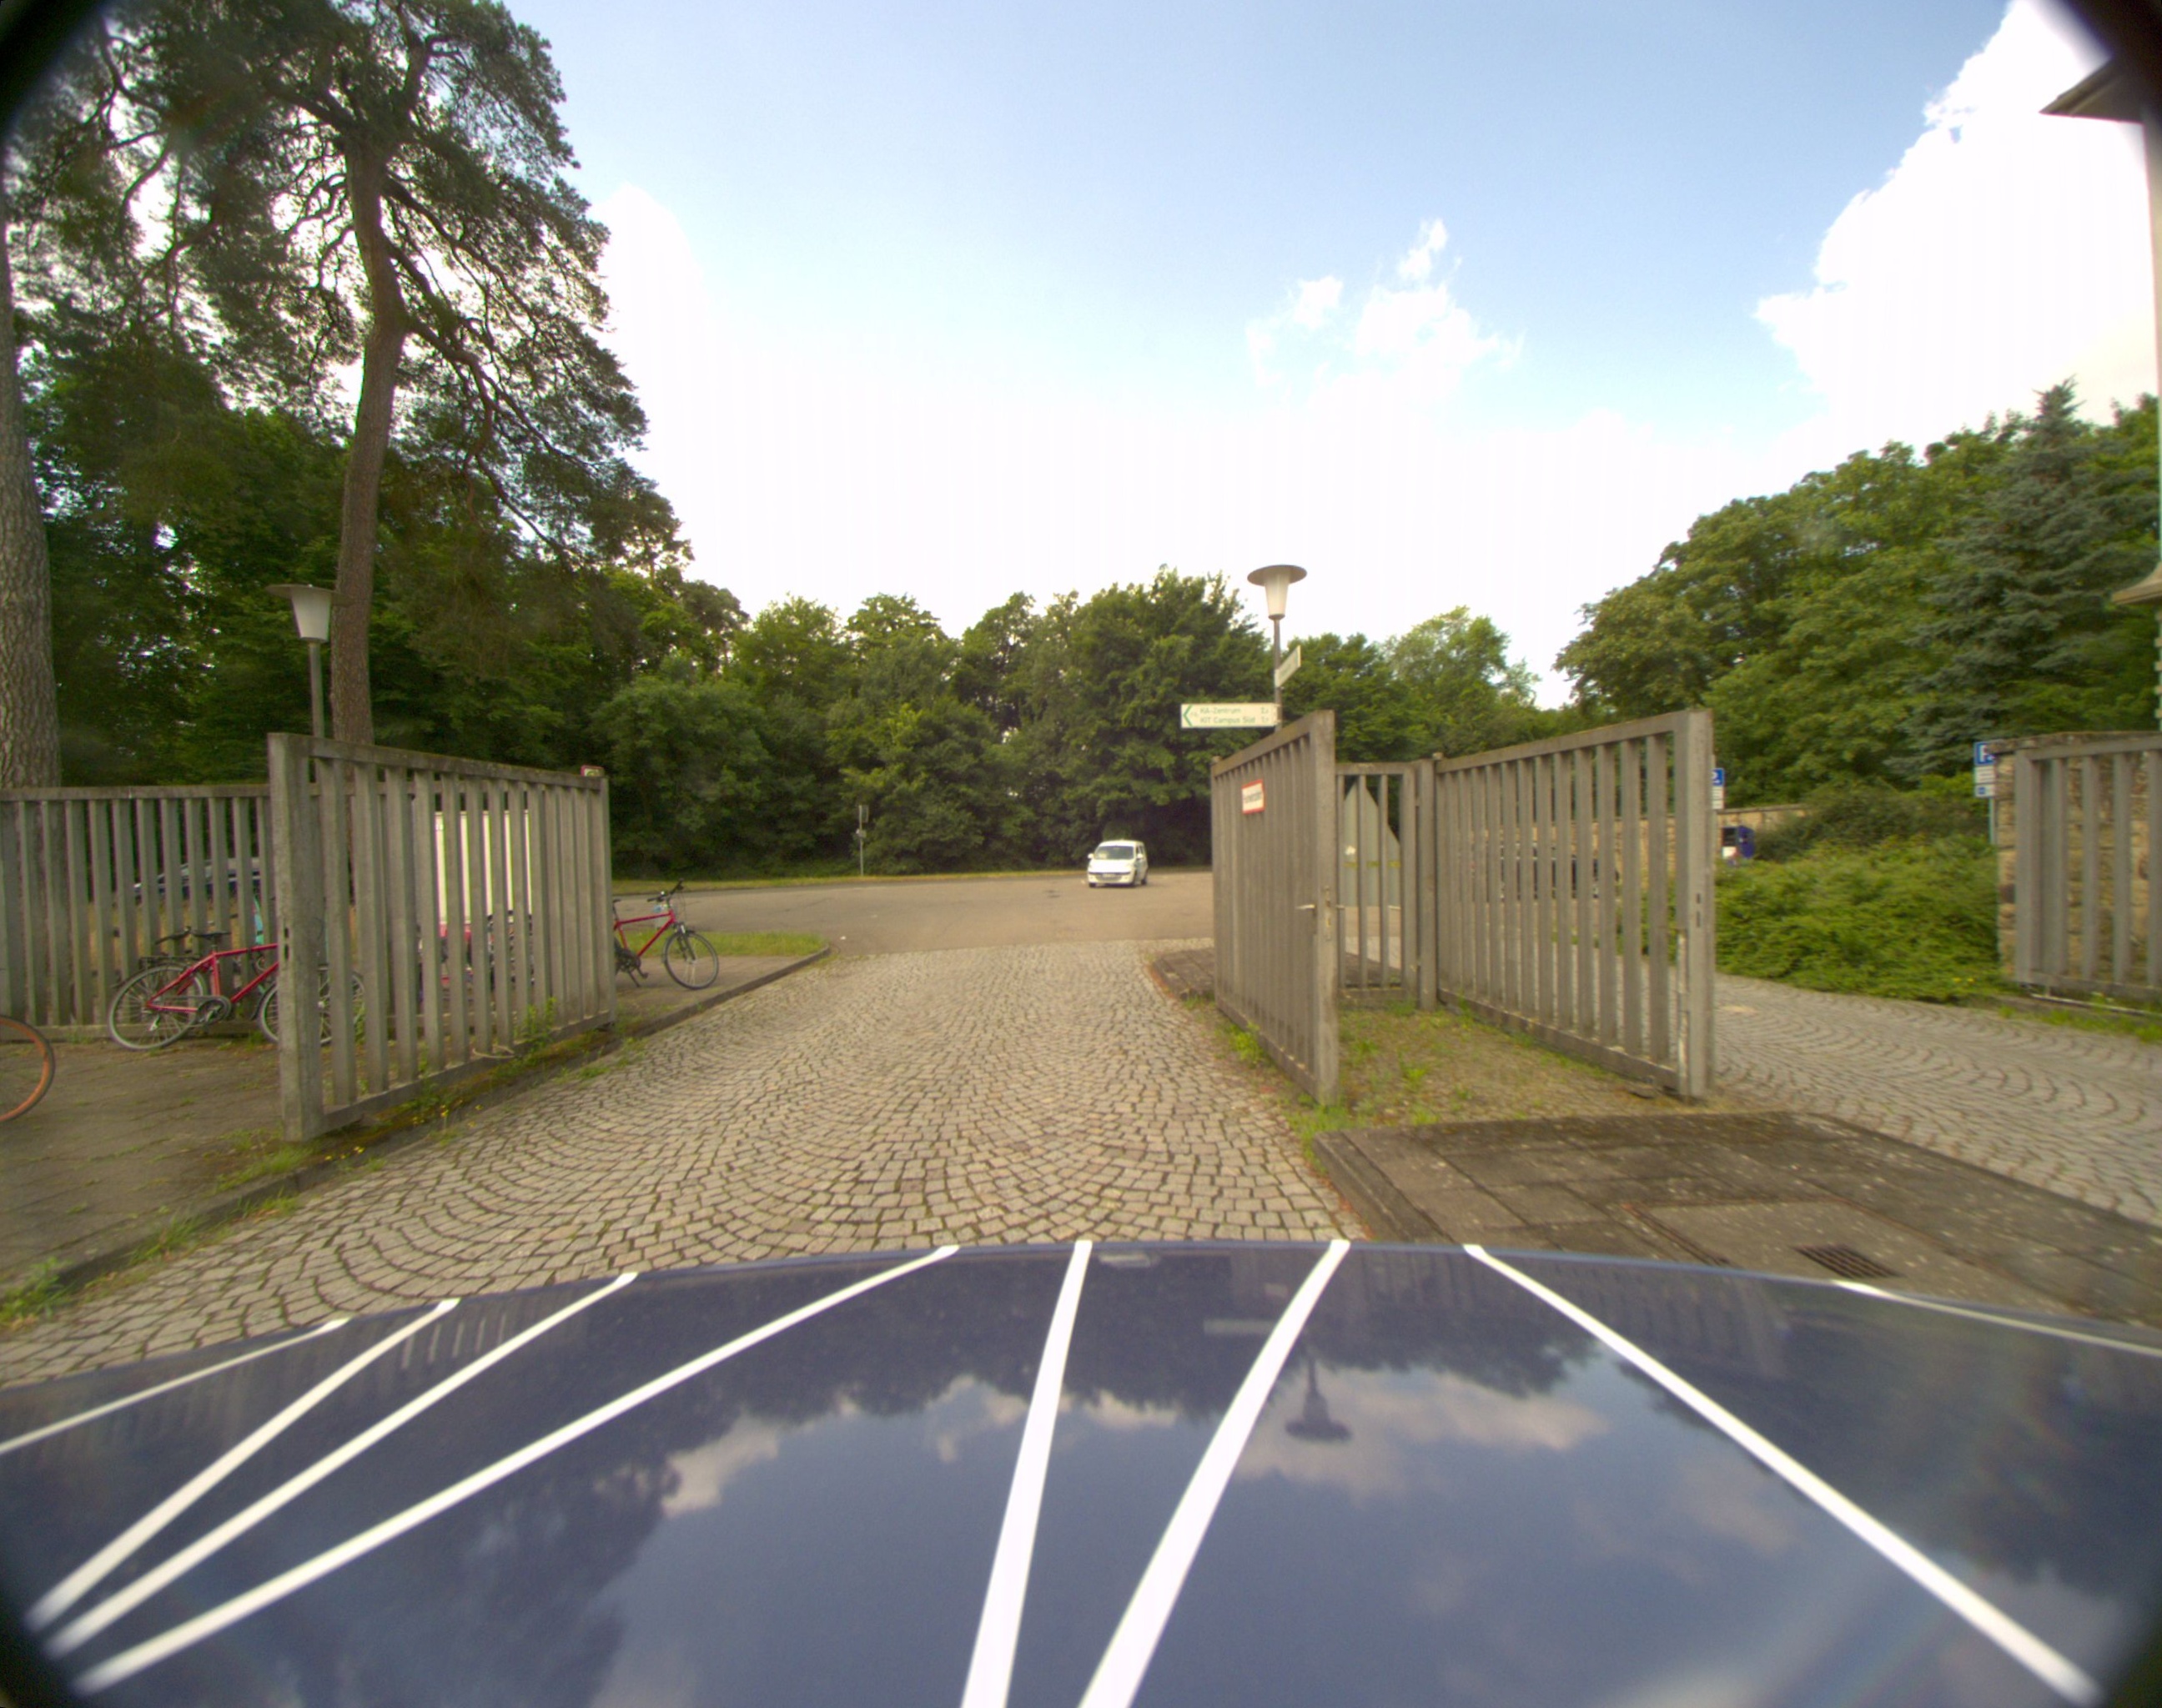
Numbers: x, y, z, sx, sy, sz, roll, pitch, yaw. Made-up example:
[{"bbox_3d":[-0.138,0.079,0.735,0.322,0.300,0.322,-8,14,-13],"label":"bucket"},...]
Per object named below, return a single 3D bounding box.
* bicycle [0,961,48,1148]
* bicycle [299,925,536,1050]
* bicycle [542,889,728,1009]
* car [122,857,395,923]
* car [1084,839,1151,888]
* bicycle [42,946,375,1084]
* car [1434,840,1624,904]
[{"bbox_3d":[-6.454,1.182,3.702,0.474,1.051,1.732,-1,1,-2],"label":"bicycle"},{"bbox_3d":[-5.909,1.182,6.811,1.730,1.027,0.387,-1,1,-1],"label":"bicycle"},{"bbox_3d":[-5.042,1.047,8.694,1.655,1.223,0.748,0,1,-10],"label":"bicycle"},{"bbox_3d":[-27.085,1.087,25.466,5.958,1.826,1.994,-2,1,-40],"label":"car"},{"bbox_3d":[1.492,0.350,29.587,1.865,1.749,4.153,0,0,13],"label":"car"},{"bbox_3d":[-6.944,1.263,6.123,1.868,0.934,0.503,-1,1,-8],"label":"bicycle"},{"bbox_3d":[11.954,0.464,20.488,3.996,1.509,1.802,-2,1,3],"label":"car"}]
